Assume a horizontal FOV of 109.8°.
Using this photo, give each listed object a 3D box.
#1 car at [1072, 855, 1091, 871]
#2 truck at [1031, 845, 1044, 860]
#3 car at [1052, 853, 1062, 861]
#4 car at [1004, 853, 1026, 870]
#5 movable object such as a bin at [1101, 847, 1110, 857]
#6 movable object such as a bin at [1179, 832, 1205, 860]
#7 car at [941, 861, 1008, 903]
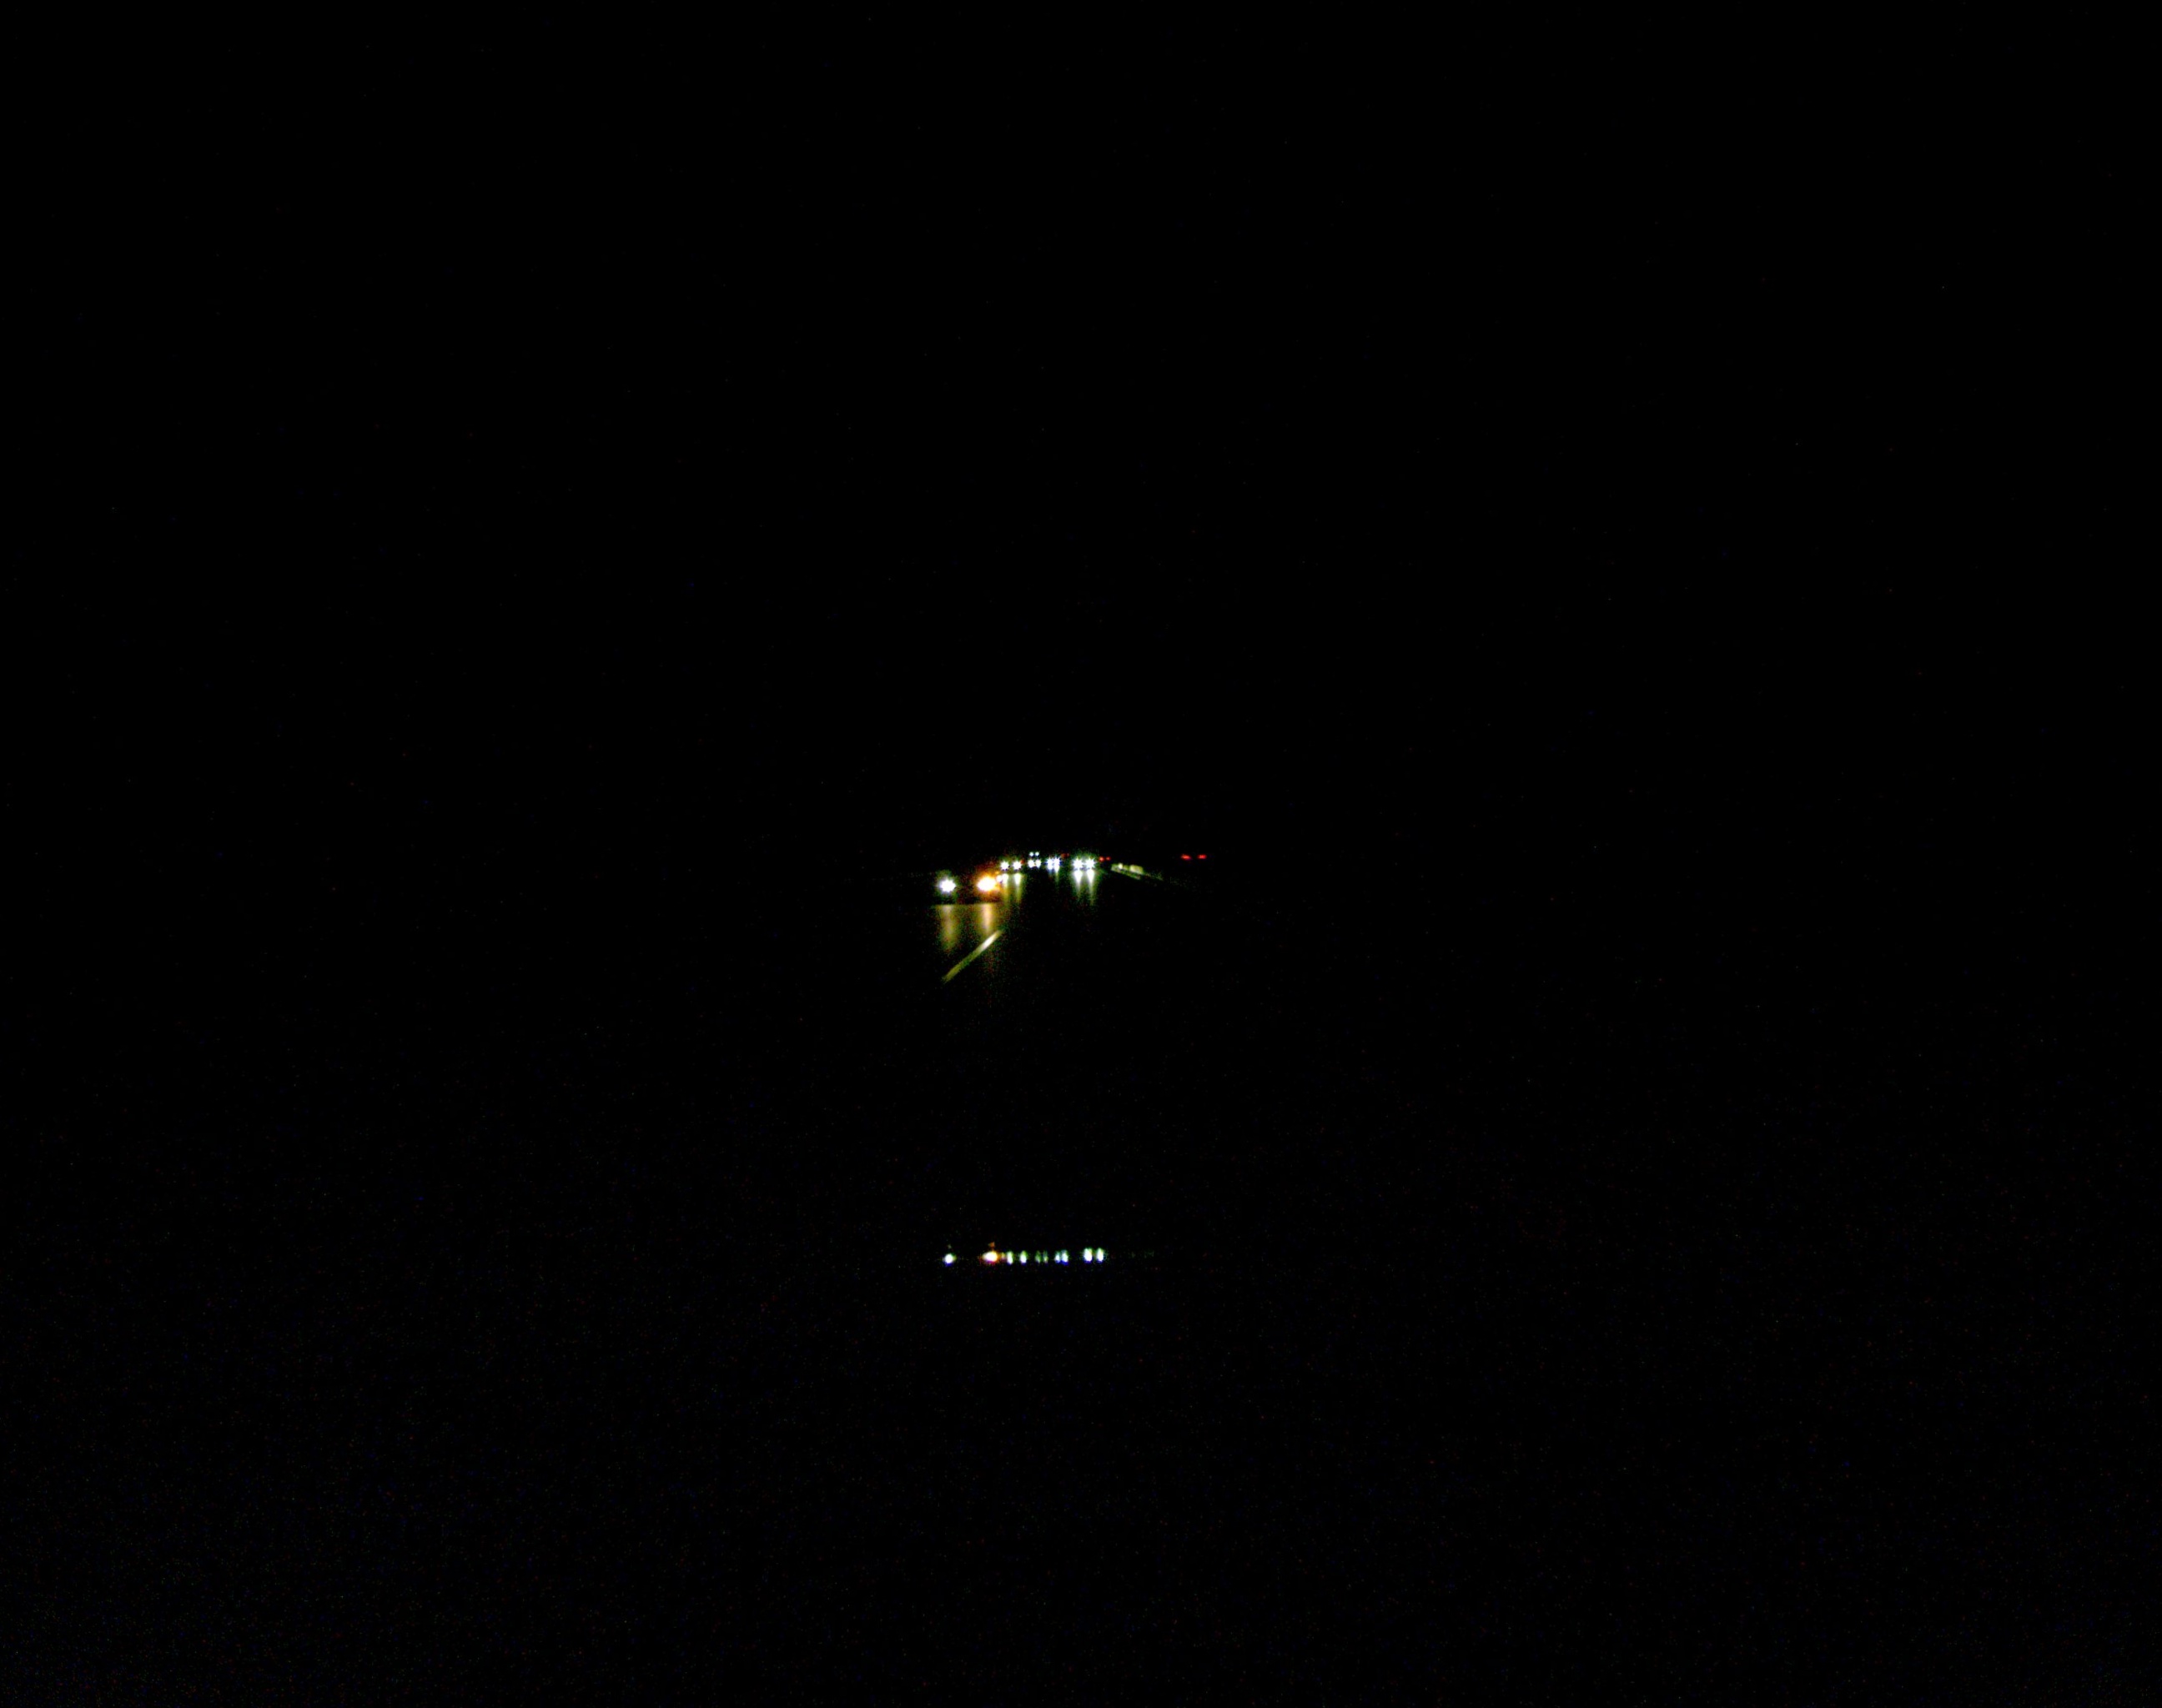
[{"bbox_3d":[0.095,0.961,85.540,2.012,1.652,4.000,-3,0,1],"label":"car"},{"bbox_3d":[-13.032,-0.469,228.123,3.348,4.407,6.989,-3,0,-7],"label":"truck"},{"bbox_3d":[-5.472,0.718,172.735,1.940,1.608,3.999,-3,0,-4],"label":"car"},{"bbox_3d":[-7.338,0.792,84.483,1.999,1.707,5.167,-3,0,-1],"label":"car"},{"bbox_3d":[7.886,-0.619,246.869,2.213,3.397,7.435,-2,0,-2],"label":"movable object such as a bin"},{"bbox_3d":[15.328,-1.087,105.269,2.299,3.747,7.685,-2,0,0],"label":"movable object such as a bin"},{"bbox_3d":[-3.967,1.002,29.173,1.840,1.393,5.069,-3,0,-1],"label":"car"}]
